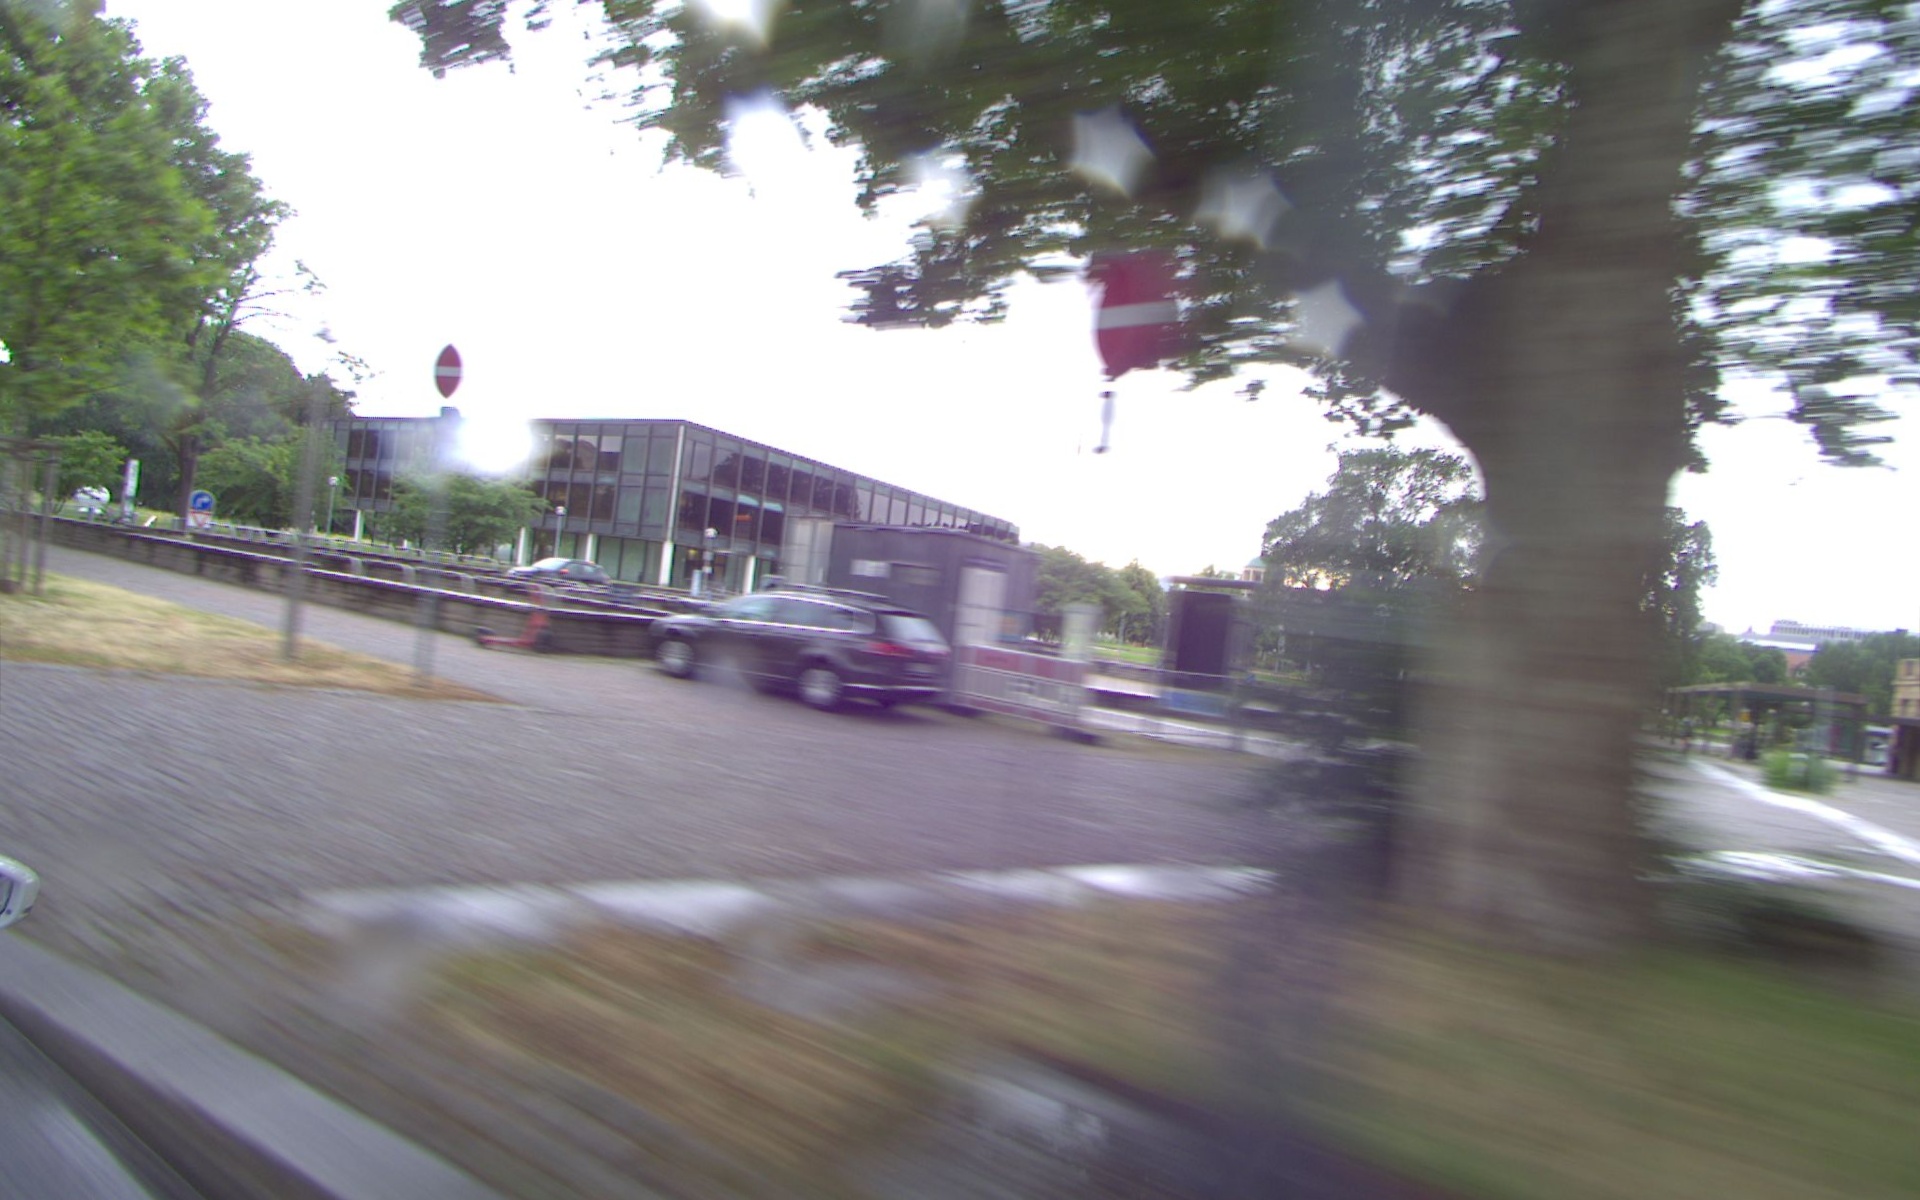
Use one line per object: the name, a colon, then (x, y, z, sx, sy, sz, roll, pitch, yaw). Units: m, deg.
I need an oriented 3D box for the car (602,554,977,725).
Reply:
car: (-2.554, 0.520, 14.620, 5.147, 1.629, 1.998, 8, 0, 30)

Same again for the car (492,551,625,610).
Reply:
car: (-13.943, -0.641, 35.143, 1.630, 1.620, 3.988, 7, 0, 34)

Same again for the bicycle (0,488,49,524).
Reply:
bicycle: (-37.444, -3.757, 39.617, 0.942, 1.188, 2.040, 8, 0, 22)

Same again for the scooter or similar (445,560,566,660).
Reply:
scooter or similar: (-6.662, 0.149, 14.775, 1.411, 1.271, 0.543, 7, 1, 0)

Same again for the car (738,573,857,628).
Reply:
car: (-7.044, 0.080, 44.212, 2.418, 1.784, 5.017, 7, -1, 29)

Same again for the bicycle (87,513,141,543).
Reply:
bicycle: (-38.172, -3.230, 45.418, 0.697, 1.099, 1.645, 8, 0, 27)

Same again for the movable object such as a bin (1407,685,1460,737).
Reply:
movable object such as a bin: (15.476, 3.602, 32.878, 1.230, 1.475, 1.490, 6, 1, 34)
